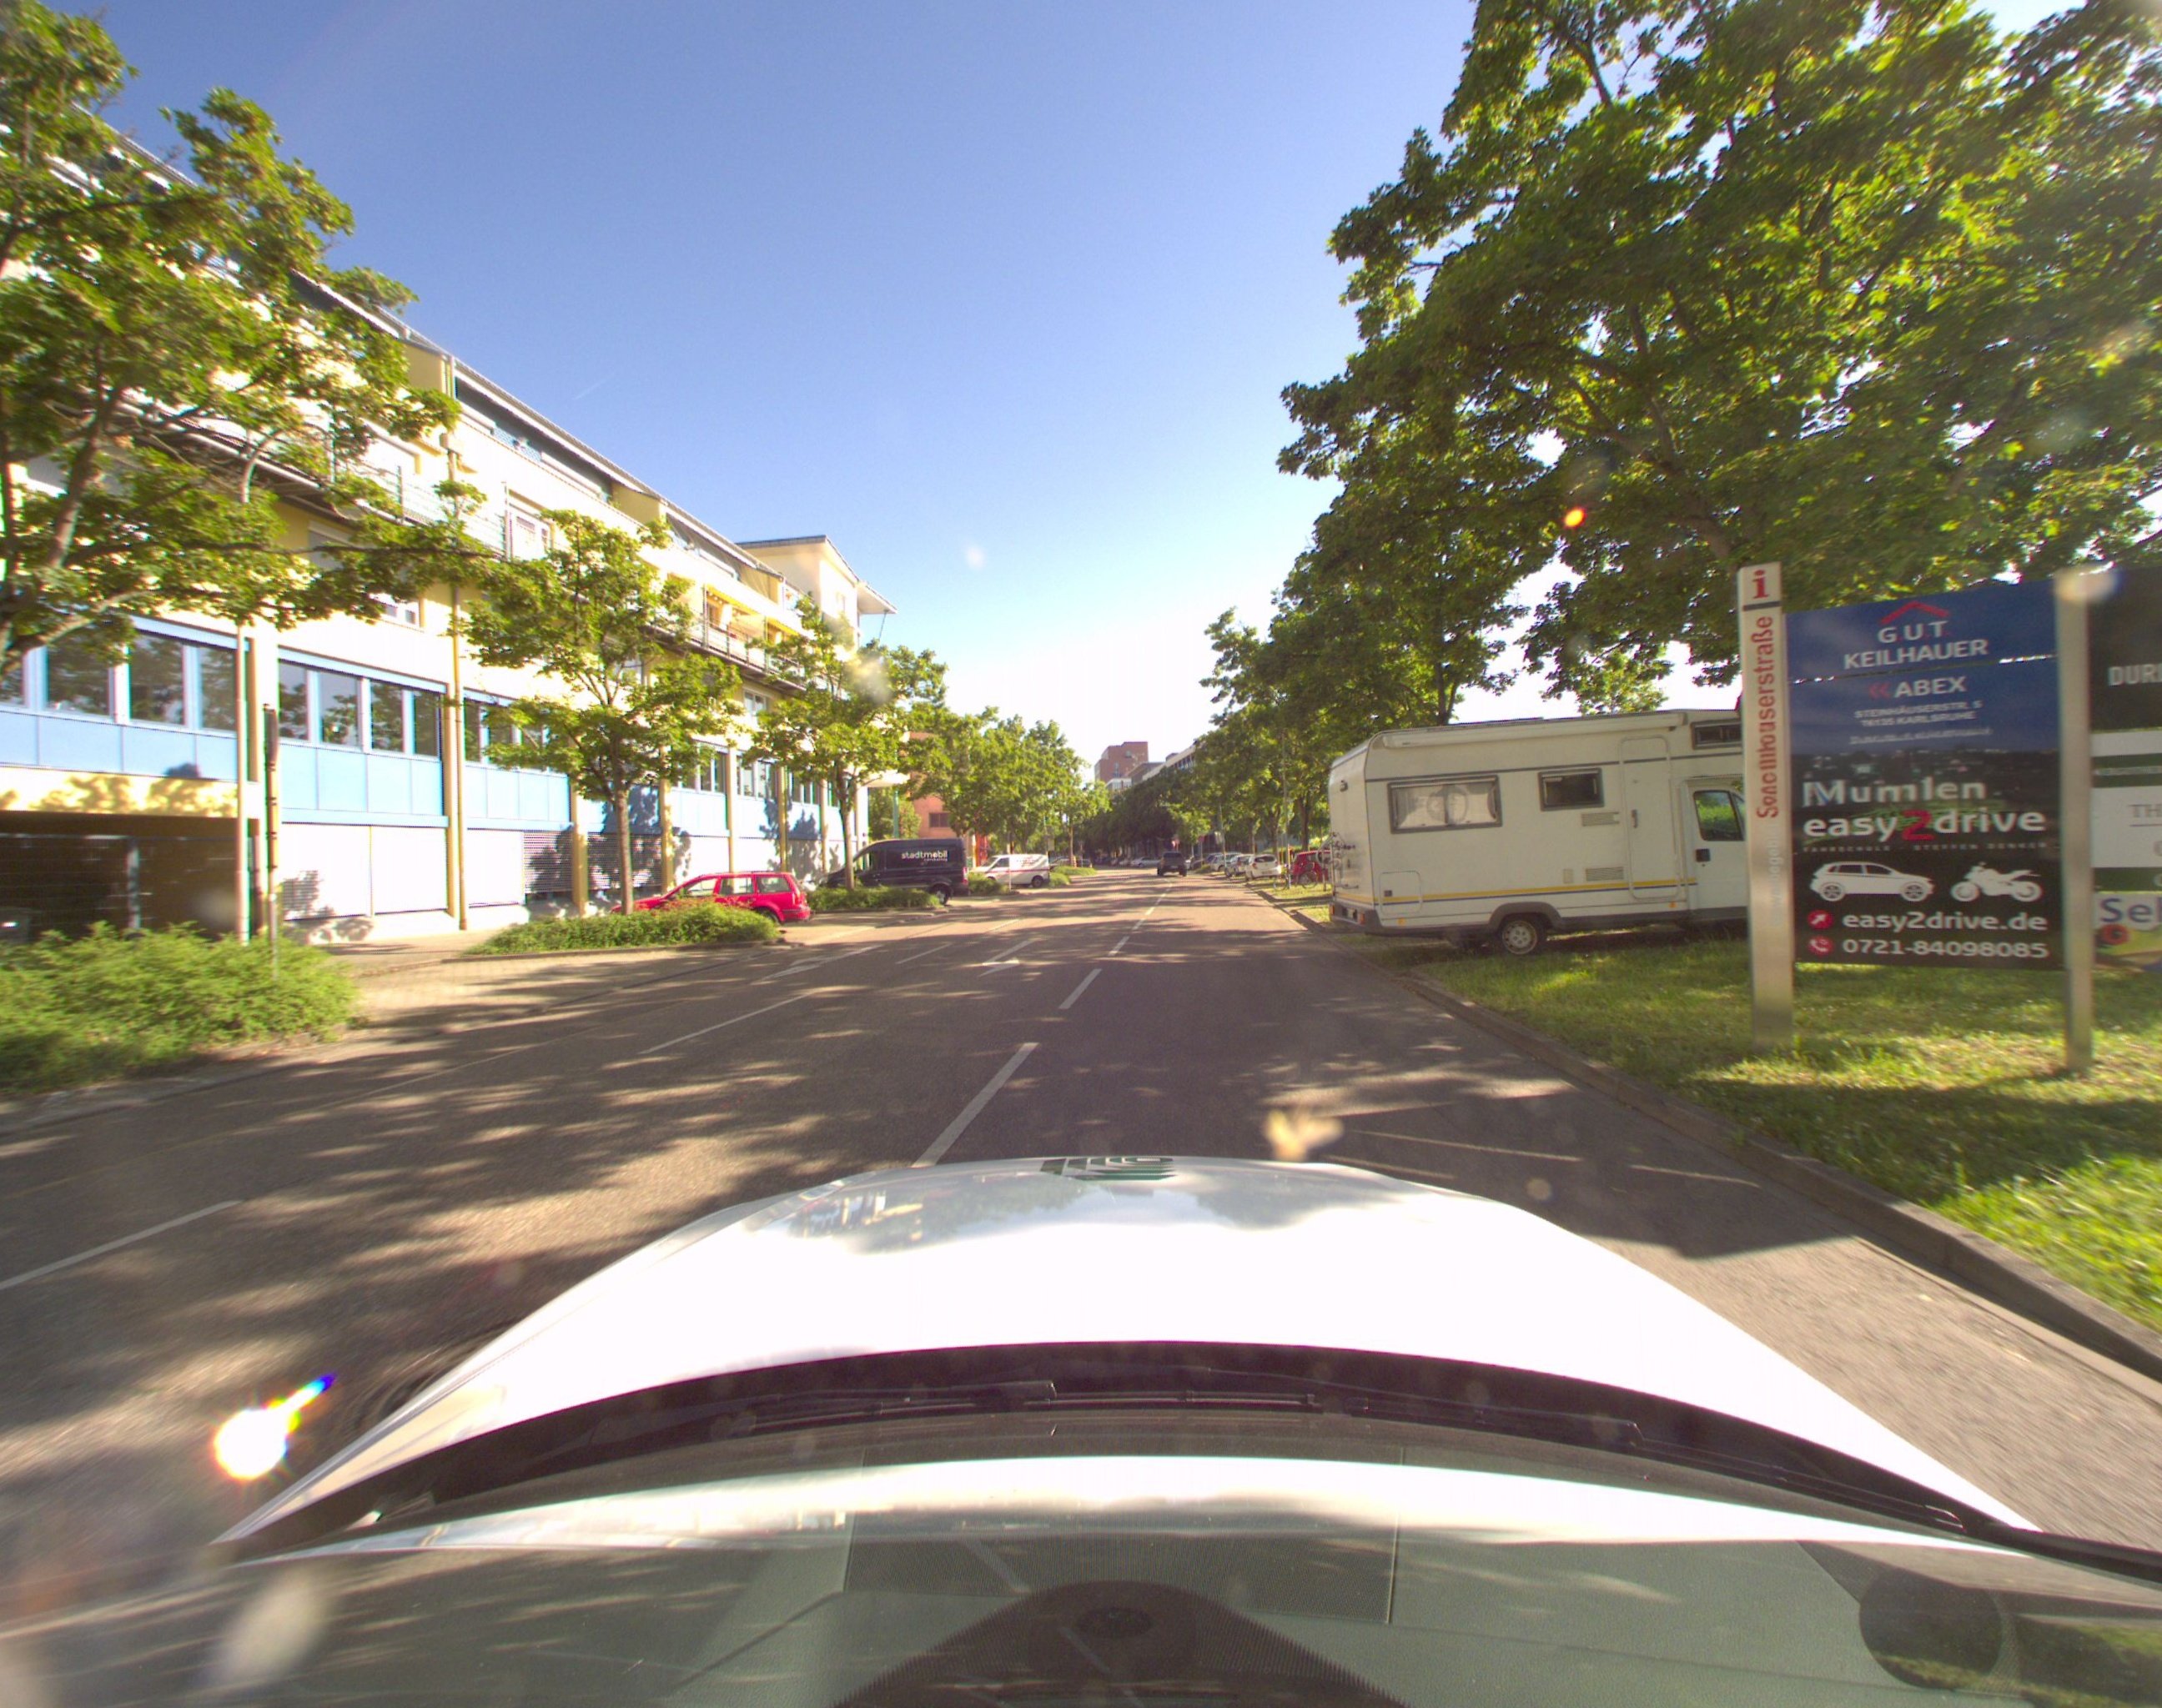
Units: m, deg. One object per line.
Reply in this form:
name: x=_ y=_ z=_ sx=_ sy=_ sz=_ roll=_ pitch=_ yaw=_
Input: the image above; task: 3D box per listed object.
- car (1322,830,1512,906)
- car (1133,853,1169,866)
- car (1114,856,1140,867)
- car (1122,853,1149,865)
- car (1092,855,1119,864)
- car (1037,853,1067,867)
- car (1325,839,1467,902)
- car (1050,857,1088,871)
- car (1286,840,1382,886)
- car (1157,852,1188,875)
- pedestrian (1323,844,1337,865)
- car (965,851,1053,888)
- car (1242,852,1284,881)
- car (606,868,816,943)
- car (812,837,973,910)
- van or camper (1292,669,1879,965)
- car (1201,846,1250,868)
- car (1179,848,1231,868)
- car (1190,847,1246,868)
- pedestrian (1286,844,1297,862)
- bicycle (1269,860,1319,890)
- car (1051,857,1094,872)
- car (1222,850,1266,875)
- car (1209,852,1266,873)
car: x=8.624 y=0.348 z=21.263 sx=4.169 sy=1.546 sz=1.864 roll=-5 pitch=-1 yaw=8
car: x=9.320 y=0.756 z=108.779 sx=4.570 sy=1.475 sz=1.744 roll=-4 pitch=0 yaw=-4
car: x=7.556 y=1.231 z=132.786 sx=3.966 sy=1.420 sz=1.706 roll=-4 pitch=0 yaw=-7
car: x=8.311 y=0.758 z=123.689 sx=3.744 sy=1.493 sz=1.611 roll=-4 pitch=0 yaw=-10
car: x=4.691 y=1.016 z=155.752 sx=4.820 sy=1.420 sz=2.027 roll=-4 pitch=0 yaw=-7
car: x=-4.467 y=0.882 z=124.834 sx=4.477 sy=2.090 sz=2.080 roll=0 pitch=0 yaw=-3
car: x=9.194 y=0.478 z=24.011 sx=3.446 sy=1.479 sz=1.861 roll=-5 pitch=-1 yaw=4
car: x=-1.222 y=1.037 z=85.202 sx=3.885 sy=1.423 sz=1.736 roll=0 pitch=0 yaw=-5
car: x=10.284 y=0.360 z=33.276 sx=3.414 sy=1.544 sz=1.631 roll=-5 pitch=-1 yaw=8
car: x=6.857 y=0.728 z=61.241 sx=1.986 sy=1.640 sz=4.001 roll=0 pitch=-1 yaw=1
pedestrian: x=19.062 y=0.058 z=62.352 sx=0.722 sy=1.588 sz=0.852 roll=-3 pitch=0 yaw=-3
car: x=-4.192 y=0.890 z=47.618 sx=4.784 sy=1.985 sz=1.981 roll=-1 pitch=0 yaw=-29
car: x=10.335 y=0.678 z=46.480 sx=1.636 sy=1.493 sz=3.768 roll=-5 pitch=0 yaw=3
car: x=-8.413 y=1.129 z=18.937 sx=4.234 sy=1.475 sz=1.758 roll=-1 pitch=0 yaw=-19
car: x=-6.893 y=0.645 z=29.723 sx=5.504 sy=2.436 sz=2.172 roll=-1 pitch=0 yaw=-19
van or camper: x=6.179 y=-0.387 z=10.932 sx=5.951 sy=2.984 sz=2.675 roll=-5 pitch=-1 yaw=6
car: x=12.568 y=0.258 z=71.067 sx=3.797 sy=1.448 sz=1.743 roll=-6 pitch=-1 yaw=-3
car: x=12.017 y=0.424 z=78.877 sx=4.551 sy=1.515 sz=1.975 roll=-4 pitch=-1 yaw=-11
car: x=12.314 y=0.305 z=73.542 sx=4.541 sy=1.515 sz=2.155 roll=-5 pitch=-1 yaw=-5
pedestrian: x=17.862 y=-0.098 z=69.125 sx=0.605 sy=1.542 sz=0.936 roll=-3 pitch=0 yaw=-3
bicycle: x=8.051 y=0.791 z=30.833 sx=1.736 sy=0.991 sz=0.532 roll=-4 pitch=-1 yaw=19
car: x=-0.823 y=0.999 z=80.315 sx=4.250 sy=1.423 sz=1.738 roll=0 pitch=0 yaw=-1
car: x=10.881 y=0.559 z=54.722 sx=1.804 sy=1.493 sz=4.621 roll=-5 pitch=0 yaw=-1
car: x=12.055 y=0.681 z=62.901 sx=4.073 sy=1.429 sz=1.643 roll=-2 pitch=0 yaw=2
